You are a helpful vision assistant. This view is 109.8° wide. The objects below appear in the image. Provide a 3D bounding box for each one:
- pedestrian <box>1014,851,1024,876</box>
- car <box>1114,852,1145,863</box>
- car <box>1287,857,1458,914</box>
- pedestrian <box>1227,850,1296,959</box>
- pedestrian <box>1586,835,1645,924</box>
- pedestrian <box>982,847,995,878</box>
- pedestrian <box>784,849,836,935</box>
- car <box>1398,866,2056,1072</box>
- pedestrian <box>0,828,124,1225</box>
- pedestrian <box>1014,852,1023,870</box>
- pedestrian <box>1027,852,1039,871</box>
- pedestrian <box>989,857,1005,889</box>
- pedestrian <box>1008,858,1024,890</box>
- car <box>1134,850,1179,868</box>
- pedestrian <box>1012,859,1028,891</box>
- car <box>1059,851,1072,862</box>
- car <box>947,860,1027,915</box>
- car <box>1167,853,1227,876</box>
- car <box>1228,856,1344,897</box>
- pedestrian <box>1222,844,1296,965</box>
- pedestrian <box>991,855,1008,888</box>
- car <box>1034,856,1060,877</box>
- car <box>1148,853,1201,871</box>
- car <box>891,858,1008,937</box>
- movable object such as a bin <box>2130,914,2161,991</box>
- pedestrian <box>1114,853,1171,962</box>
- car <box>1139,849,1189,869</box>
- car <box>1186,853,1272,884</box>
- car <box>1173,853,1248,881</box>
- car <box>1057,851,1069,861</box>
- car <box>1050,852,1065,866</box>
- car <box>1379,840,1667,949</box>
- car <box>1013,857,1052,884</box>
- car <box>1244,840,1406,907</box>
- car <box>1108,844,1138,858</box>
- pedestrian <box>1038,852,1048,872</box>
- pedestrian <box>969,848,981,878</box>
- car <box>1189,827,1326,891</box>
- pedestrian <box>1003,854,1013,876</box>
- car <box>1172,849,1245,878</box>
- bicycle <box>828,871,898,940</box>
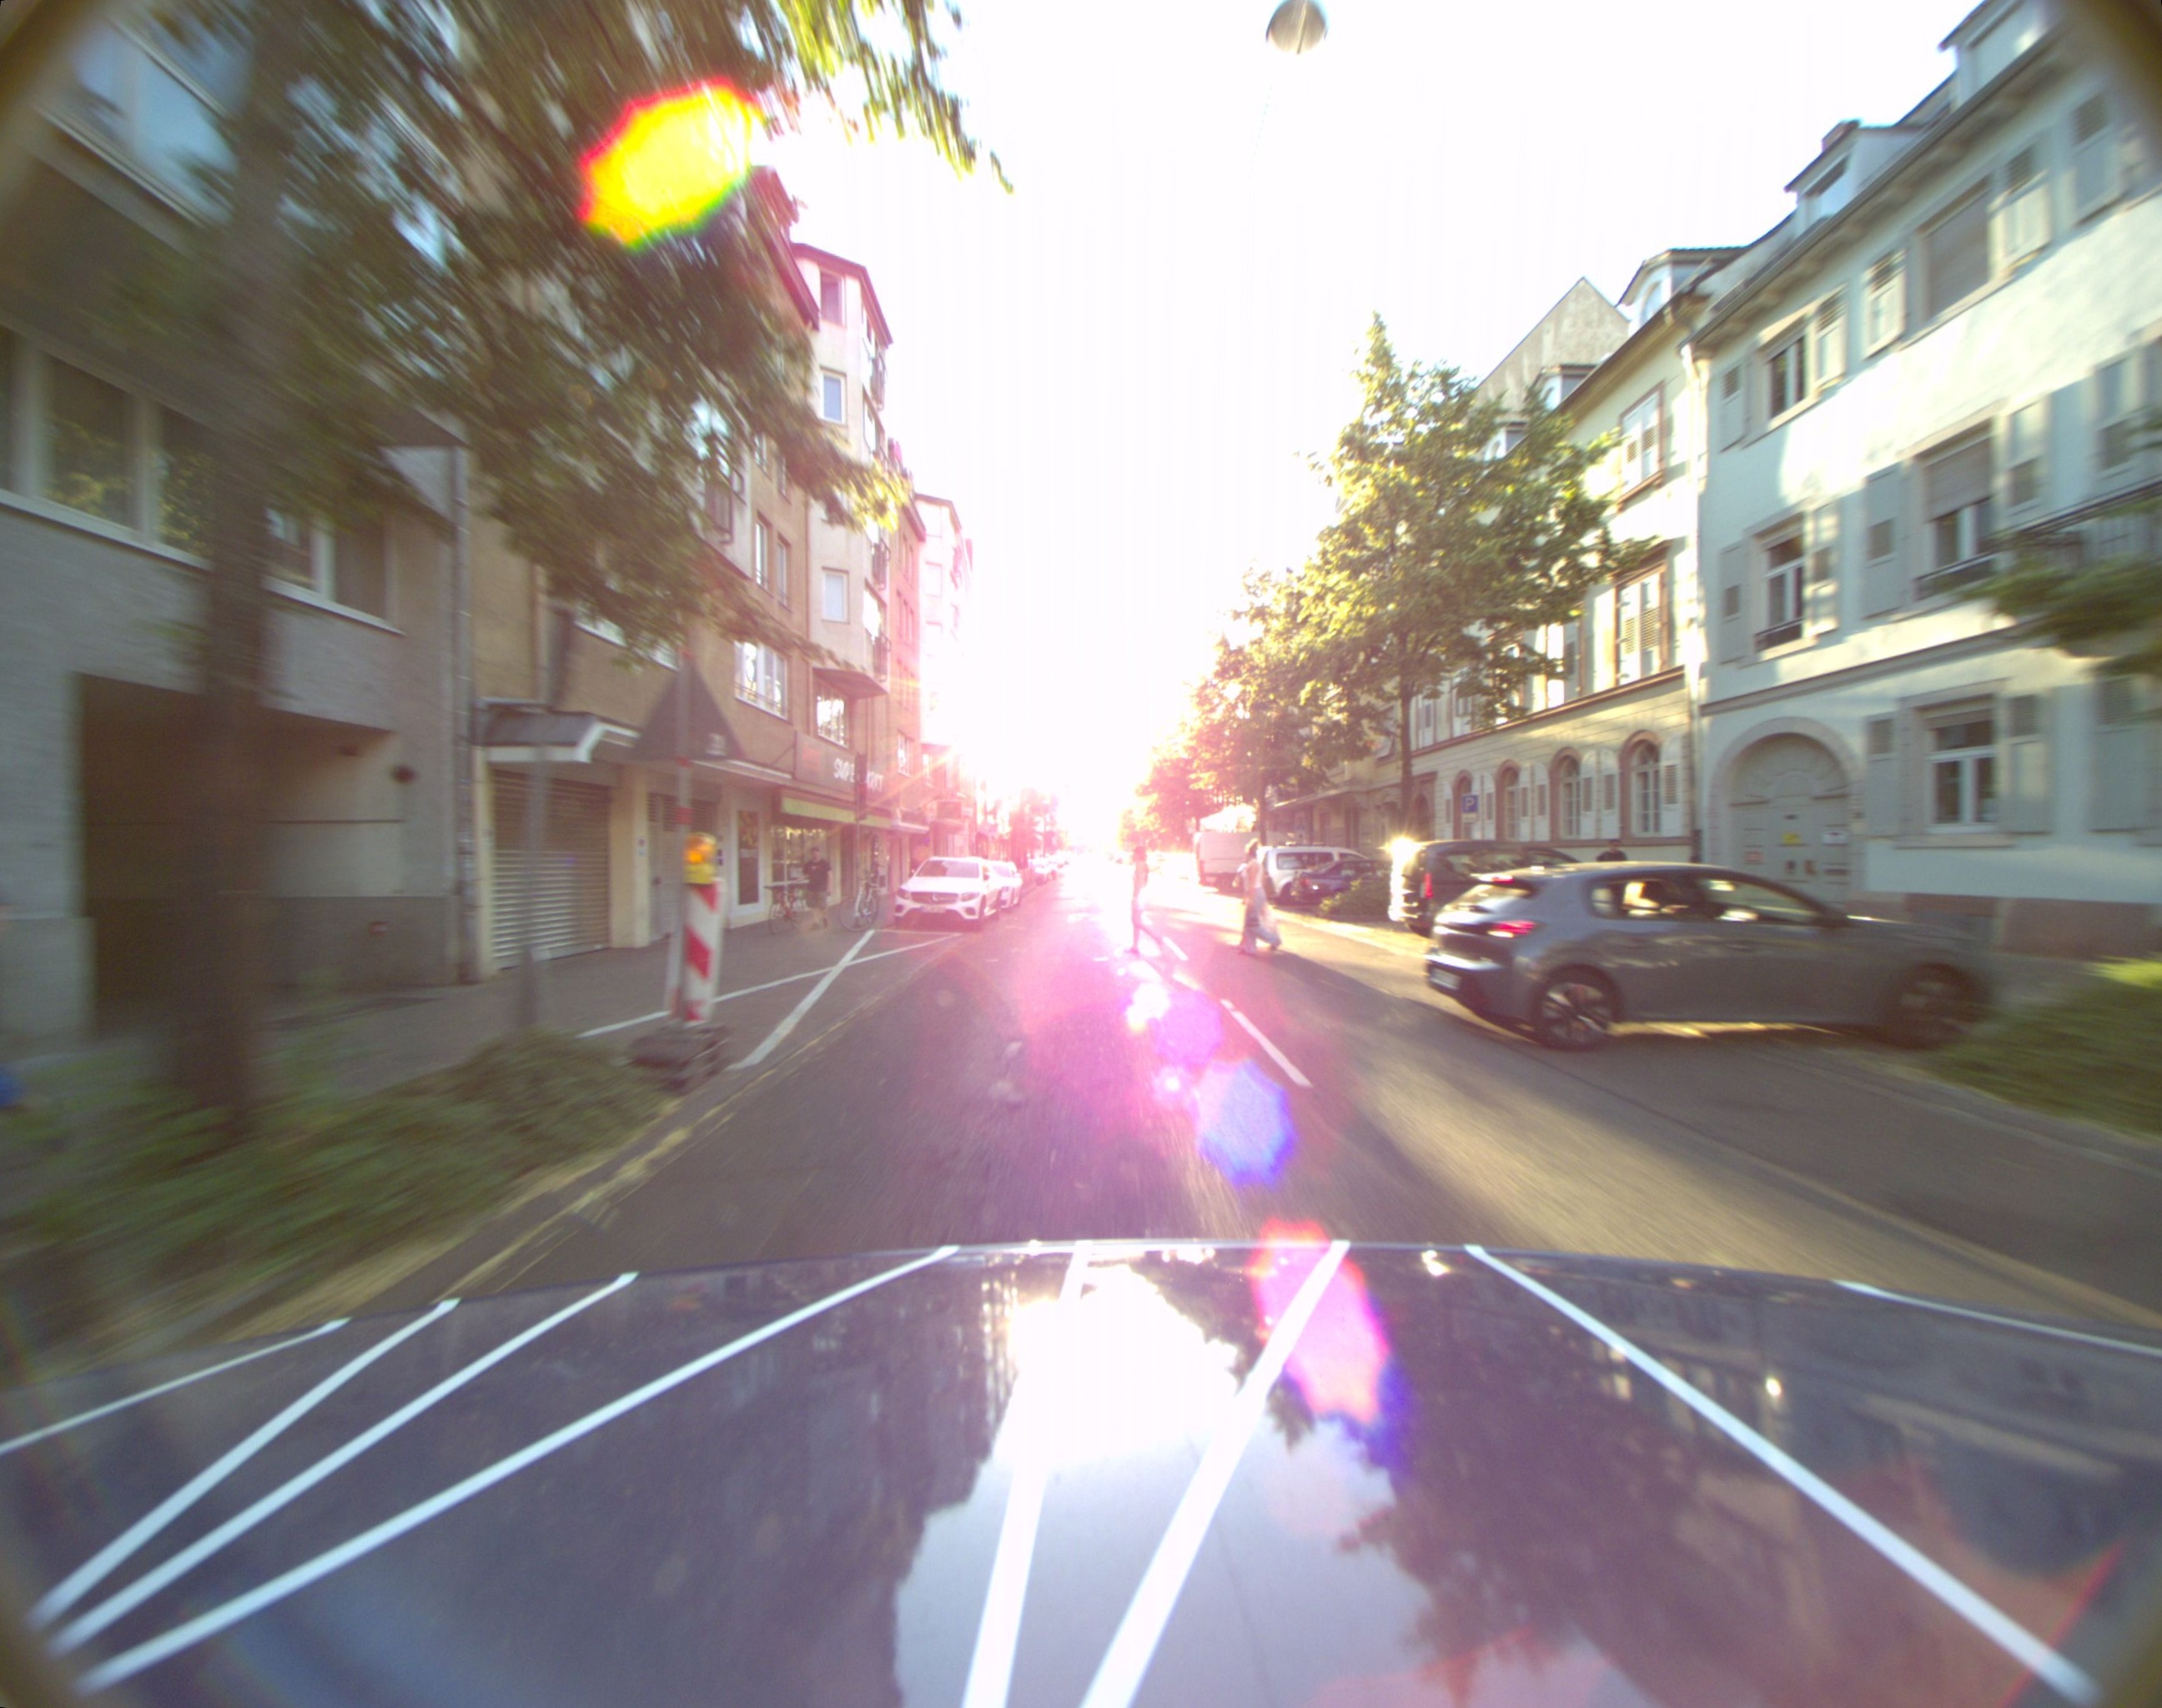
[{"bbox_3d":[-4.193,0.641,51.382,0.626,1.667,0.640,1,1,1],"label":"pedestrian"},{"bbox_3d":[7.368,0.572,114.239,4.579,1.548,1.809,-1,0,-37],"label":"car"},{"bbox_3d":[8.077,0.855,21.296,4.162,1.431,1.594,-1,0,2],"label":"car"},{"bbox_3d":[2.874,0.780,12.160,0.924,1.685,0.762,0,1,1],"label":"pedestrian"},{"bbox_3d":[11.004,0.514,15.661,0.664,1.791,0.780,-1,1,1],"label":"pedestrian"},{"bbox_3d":[-5.623,0.495,46.252,0.627,1.857,0.976,2,1,0],"label":"pedestrian"},{"bbox_3d":[-5.465,0.751,15.362,0.790,1.694,0.700,0,1,0],"label":"pedestrian"},{"bbox_3d":[5.070,0.875,6.438,4.068,1.453,1.686,-1,0,3],"label":"car"},{"bbox_3d":[-5.285,0.775,3.348,0.858,1.784,0.997,0,1,1],"label":"pedestrian"},{"bbox_3d":[-5.946,0.684,72.357,0.756,1.748,0.812,-1,1,0],"label":"pedestrian"},{"bbox_3d":[-4.516,0.698,71.438,1.049,1.775,0.945,2,1,0],"label":"pedestrian"},{"bbox_3d":[-3.725,0.824,33.636,0.579,1.376,0.718,1,1,1],"label":"pedestrian"},{"bbox_3d":[-3.121,0.946,36.442,0.633,1.476,0.795,1,0,1],"label":"pedestrian"},{"bbox_3d":[8.033,0.484,80.728,4.567,1.772,1.946,-1,1,0],"label":"car"},{"bbox_3d":[-2.570,0.881,31.847,0.579,1.311,0.704,1,1,1],"label":"pedestrian"},{"bbox_3d":[-2.587,0.435,130.570,1.867,1.900,4.256,3,0,3],"label":"car"},{"bbox_3d":[-2.847,0.966,24.127,1.846,1.472,5.189,2,0,0],"label":"car"},{"bbox_3d":[8.194,0.718,53.888,3.926,1.440,1.696,-3,0,-2],"label":"car"},{"bbox_3d":[7.836,0.838,29.278,3.997,1.396,1.749,-2,1,-1],"label":"car"},{"bbox_3d":[2.644,0.733,11.361,0.924,1.749,0.762,0,1,1],"label":"pedestrian"},{"bbox_3d":[-3.919,0.838,36.496,0.709,1.589,0.795,1,0,0],"label":"pedestrian"},{"bbox_3d":[-2.545,0.900,57.272,1.727,1.484,4.752,2,0,0],"label":"car"},{"bbox_3d":[8.097,0.687,66.273,4.393,1.414,1.822,-2,0,0],"label":"car"},{"bbox_3d":[-2.950,0.918,18.113,1.884,1.565,4.692,2,0,1],"label":"car"},{"bbox_3d":[11.748,1.060,8.077,0.449,0.792,0.533,-2,0,0],"label":"movable object such as a bin"},{"bbox_3d":[0.942,0.808,11.867,0.829,1.629,0.827,0,1,1],"label":"pedestrian"},{"bbox_3d":[8.057,0.497,74.126,4.718,1.800,2.053,-2,0,1],"label":"car"},{"bbox_3d":[7.899,0.766,40.818,4.223,1.497,1.793,-2,0,0],"label":"car"},{"bbox_3d":[7.849,0.764,46.247,4.197,1.474,1.970,-2,0,-1],"label":"car"},{"bbox_3d":[-2.912,0.326,122.325,1.759,1.638,3.793,3,0,0],"label":"car"},{"bbox_3d":[-3.122,0.641,99.700,1.759,1.638,3.793,3,0,0],"label":"car"},{"bbox_3d":[7.846,0.691,13.798,4.148,1.796,1.807,-1,0,2],"label":"car"},{"bbox_3d":[-2.812,0.921,45.105,1.779,1.431,5.000,2,0,2],"label":"car"},{"bbox_3d":[7.645,0.603,24.141,4.510,1.942,1.919,-1,0,2],"label":"car"},{"bbox_3d":[7.291,-0.530,131.183,4.782,2.344,2.153,-1,0,-27],"label":"car"},{"bbox_3d":[-3.553,0.753,71.425,0.731,1.775,0.870,3,1,1],"label":"pedestrian"},{"bbox_3d":[-6.452,0.532,46.182,0.590,1.799,0.835,2,1,0],"label":"pedestrian"},{"bbox_3d":[7.972,0.212,34.758,5.672,2.606,2.171,-2,0,0],"label":"car"},{"bbox_3d":[-4.894,0.752,51.058,0.626,1.480,0.640,1,1,1],"label":"pedestrian"},{"bbox_3d":[8.206,0.607,49.098,4.242,1.641,1.892,-2,0,-4],"label":"car"},{"bbox_3d":[-4.450,1.012,15.657,0.777,1.255,2.050,1,0,1],"label":"bicycle"}]
